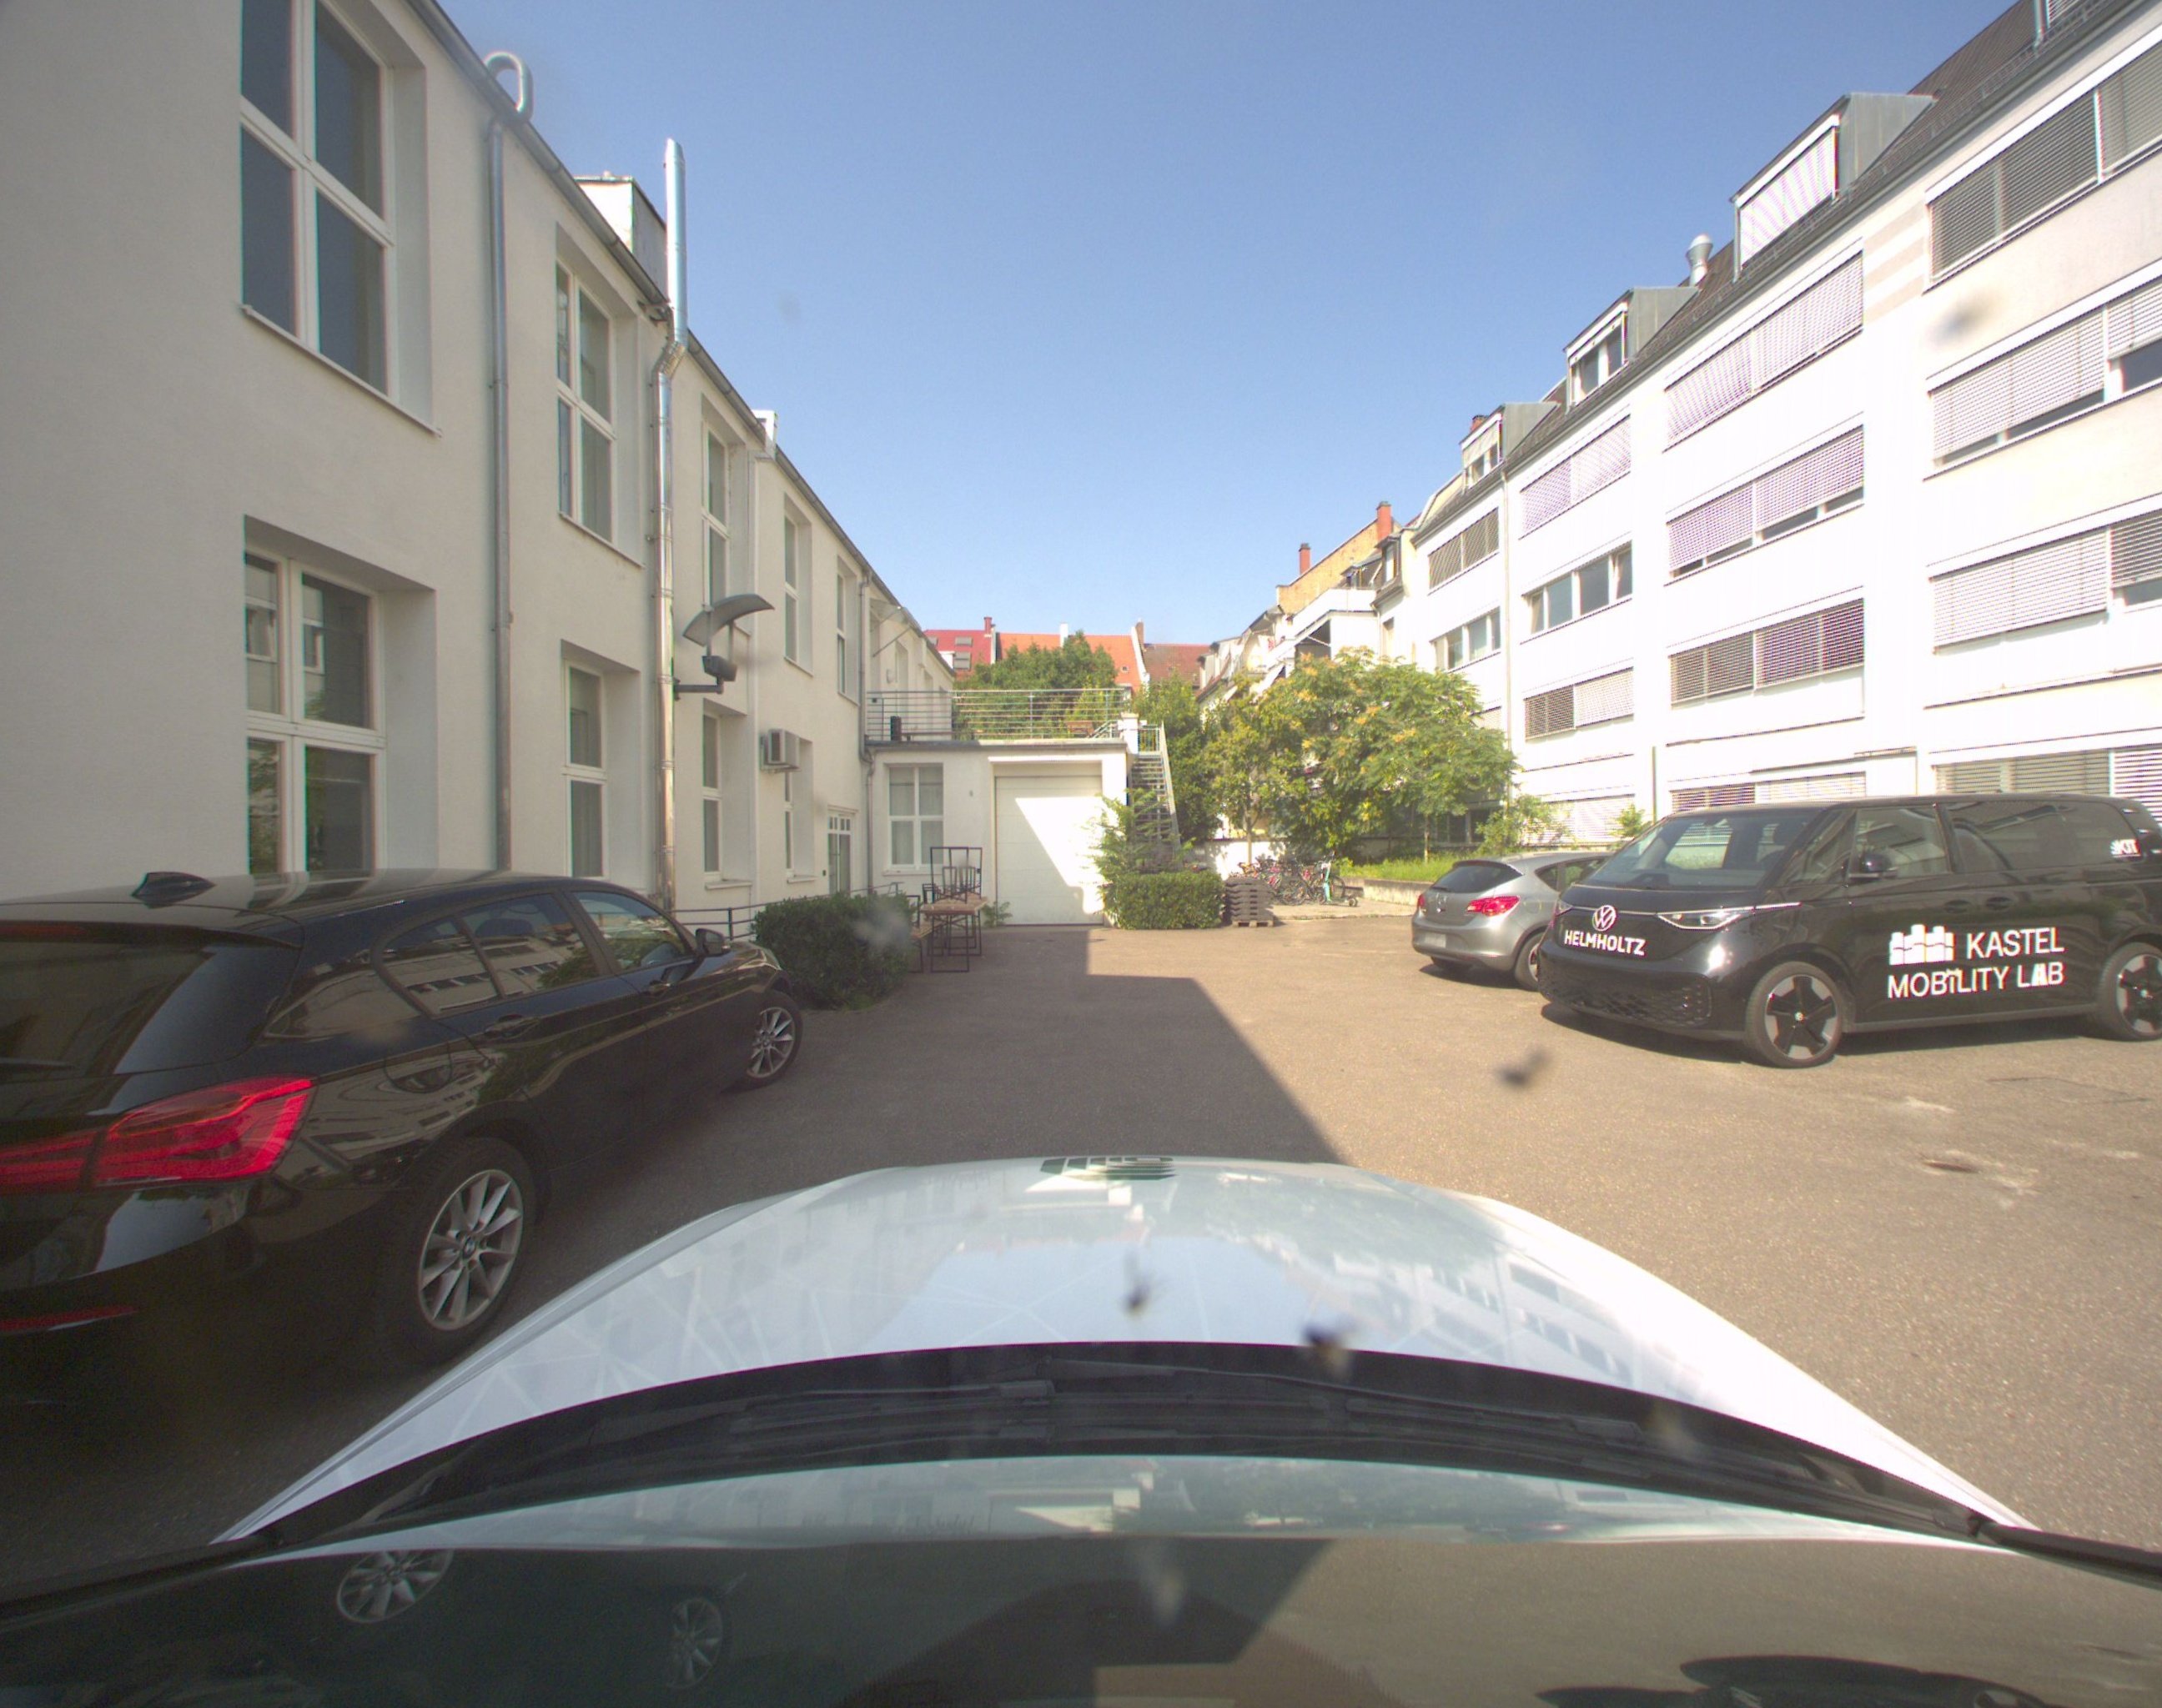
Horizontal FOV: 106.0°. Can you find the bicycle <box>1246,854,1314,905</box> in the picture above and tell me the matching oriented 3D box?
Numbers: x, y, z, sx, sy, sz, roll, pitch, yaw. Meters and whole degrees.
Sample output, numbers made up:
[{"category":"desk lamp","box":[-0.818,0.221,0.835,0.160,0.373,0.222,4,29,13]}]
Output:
[{"category":"bicycle","box":[5.007,0.636,20.536,1.617,1.214,0.327,-2,0,2]}]

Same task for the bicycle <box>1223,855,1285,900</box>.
[{"category":"bicycle","box":[4.870,0.653,22.957,1.620,1.214,0.423,-2,0,-5]}]

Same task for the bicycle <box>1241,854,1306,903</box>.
[{"category":"bicycle","box":[5.026,0.641,21.281,1.613,1.214,0.328,-2,0,10]}]

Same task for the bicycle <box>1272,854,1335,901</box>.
[{"category":"bicycle","box":[6.014,0.638,22.039,1.611,1.214,0.425,-2,0,13]}]

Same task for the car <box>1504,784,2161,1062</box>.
[{"category":"car","box":[6.123,0.433,6.635,4.499,1.794,1.877,-1,-1,-9]}]

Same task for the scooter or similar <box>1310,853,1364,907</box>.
[{"category":"scooter or similar","box":[6.260,0.629,19.965,0.381,1.261,1.335,-2,0,-31]}]

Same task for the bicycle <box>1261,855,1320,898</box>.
[{"category":"bicycle","box":[6.085,0.647,23.640,1.612,1.214,0.425,-2,0,13]}]

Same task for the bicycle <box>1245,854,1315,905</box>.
[{"category":"bicycle","box":[4.936,0.635,20.215,1.617,1.214,0.327,-2,0,2]}]

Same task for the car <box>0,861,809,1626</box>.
[{"category":"car","box":[-2.662,0.772,3.518,1.683,1.459,3.921,0,0,-1]}]

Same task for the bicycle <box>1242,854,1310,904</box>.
[{"category":"bicycle","box":[4.983,0.638,20.830,1.617,1.214,0.327,-2,0,2]}]

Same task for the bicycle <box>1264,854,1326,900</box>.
[{"category":"bicycle","box":[5.926,0.642,22.615,1.612,1.214,0.425,-2,0,13]}]

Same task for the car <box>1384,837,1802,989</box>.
[{"category":"car","box":[5.837,0.613,9.520,3.931,1.482,1.769,-1,-1,-9]}]

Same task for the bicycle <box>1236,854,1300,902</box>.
[{"category":"bicycle","box":[4.953,0.643,21.645,1.611,1.214,0.328,-2,0,13]}]

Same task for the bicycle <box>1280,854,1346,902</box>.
[{"category":"bicycle","box":[6.025,0.632,21.178,1.611,1.214,0.328,-2,0,15]}]

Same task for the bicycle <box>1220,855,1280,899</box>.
[{"category":"bicycle","box":[4.874,0.656,23.560,1.620,1.214,0.423,-2,0,-5]}]

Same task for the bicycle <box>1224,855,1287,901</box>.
[{"category":"bicycle","box":[4.776,0.649,22.323,1.618,1.214,0.424,-2,0,-1]}]
